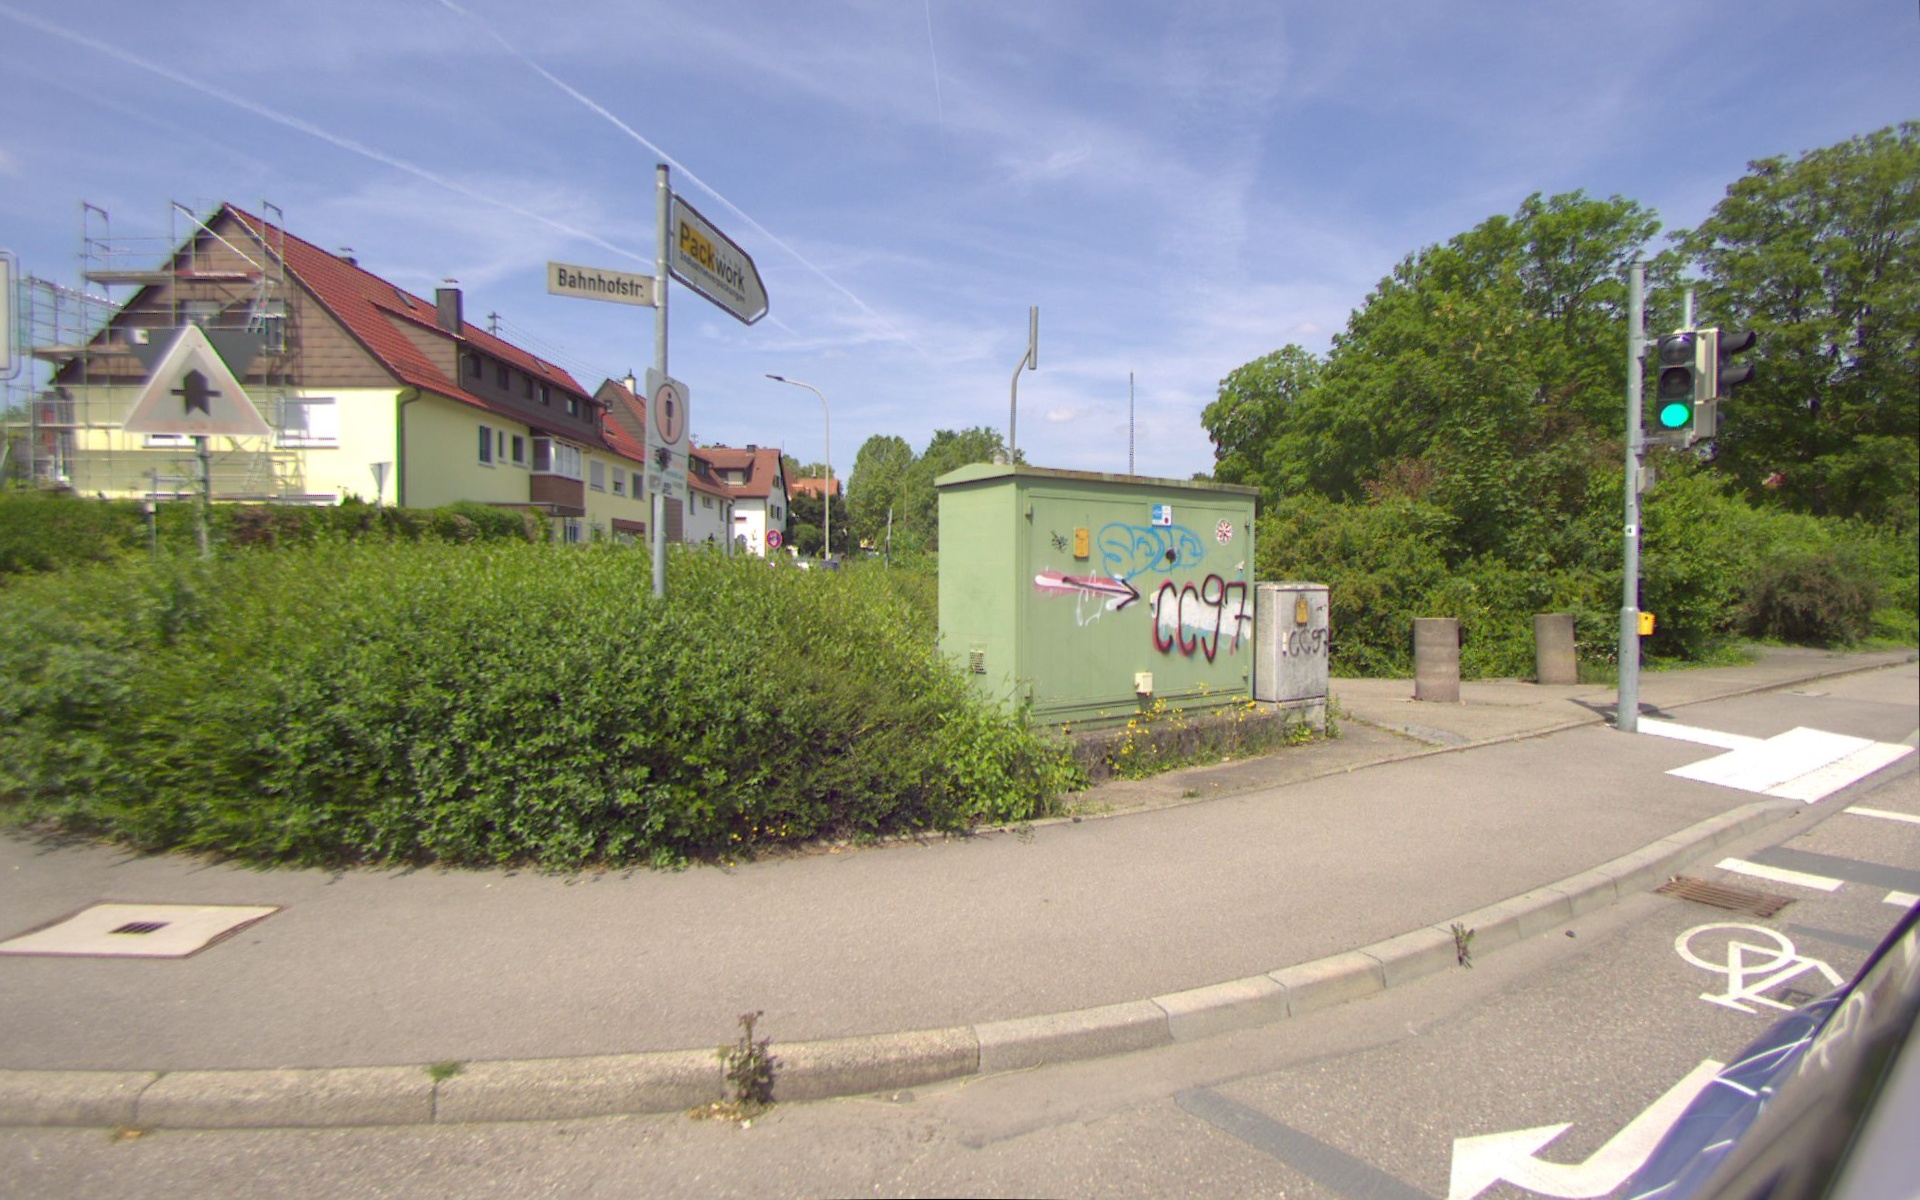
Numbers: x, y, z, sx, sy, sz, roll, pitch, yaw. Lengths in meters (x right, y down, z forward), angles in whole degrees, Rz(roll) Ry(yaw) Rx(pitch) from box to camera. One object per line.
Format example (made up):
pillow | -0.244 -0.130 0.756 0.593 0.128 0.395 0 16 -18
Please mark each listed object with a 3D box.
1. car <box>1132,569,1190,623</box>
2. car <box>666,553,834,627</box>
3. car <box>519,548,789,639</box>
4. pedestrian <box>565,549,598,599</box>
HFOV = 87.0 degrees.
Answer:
car | 6.547 -0.166 33.179 1.580 1.638 3.730 1 1 7
car | -4.592 -0.244 22.374 3.372 1.503 1.416 1 1 4
car | -5.135 -0.137 17.139 4.215 1.416 1.397 1 1 9
pedestrian | -12.581 -0.860 33.623 0.766 1.625 0.799 1 1 5
